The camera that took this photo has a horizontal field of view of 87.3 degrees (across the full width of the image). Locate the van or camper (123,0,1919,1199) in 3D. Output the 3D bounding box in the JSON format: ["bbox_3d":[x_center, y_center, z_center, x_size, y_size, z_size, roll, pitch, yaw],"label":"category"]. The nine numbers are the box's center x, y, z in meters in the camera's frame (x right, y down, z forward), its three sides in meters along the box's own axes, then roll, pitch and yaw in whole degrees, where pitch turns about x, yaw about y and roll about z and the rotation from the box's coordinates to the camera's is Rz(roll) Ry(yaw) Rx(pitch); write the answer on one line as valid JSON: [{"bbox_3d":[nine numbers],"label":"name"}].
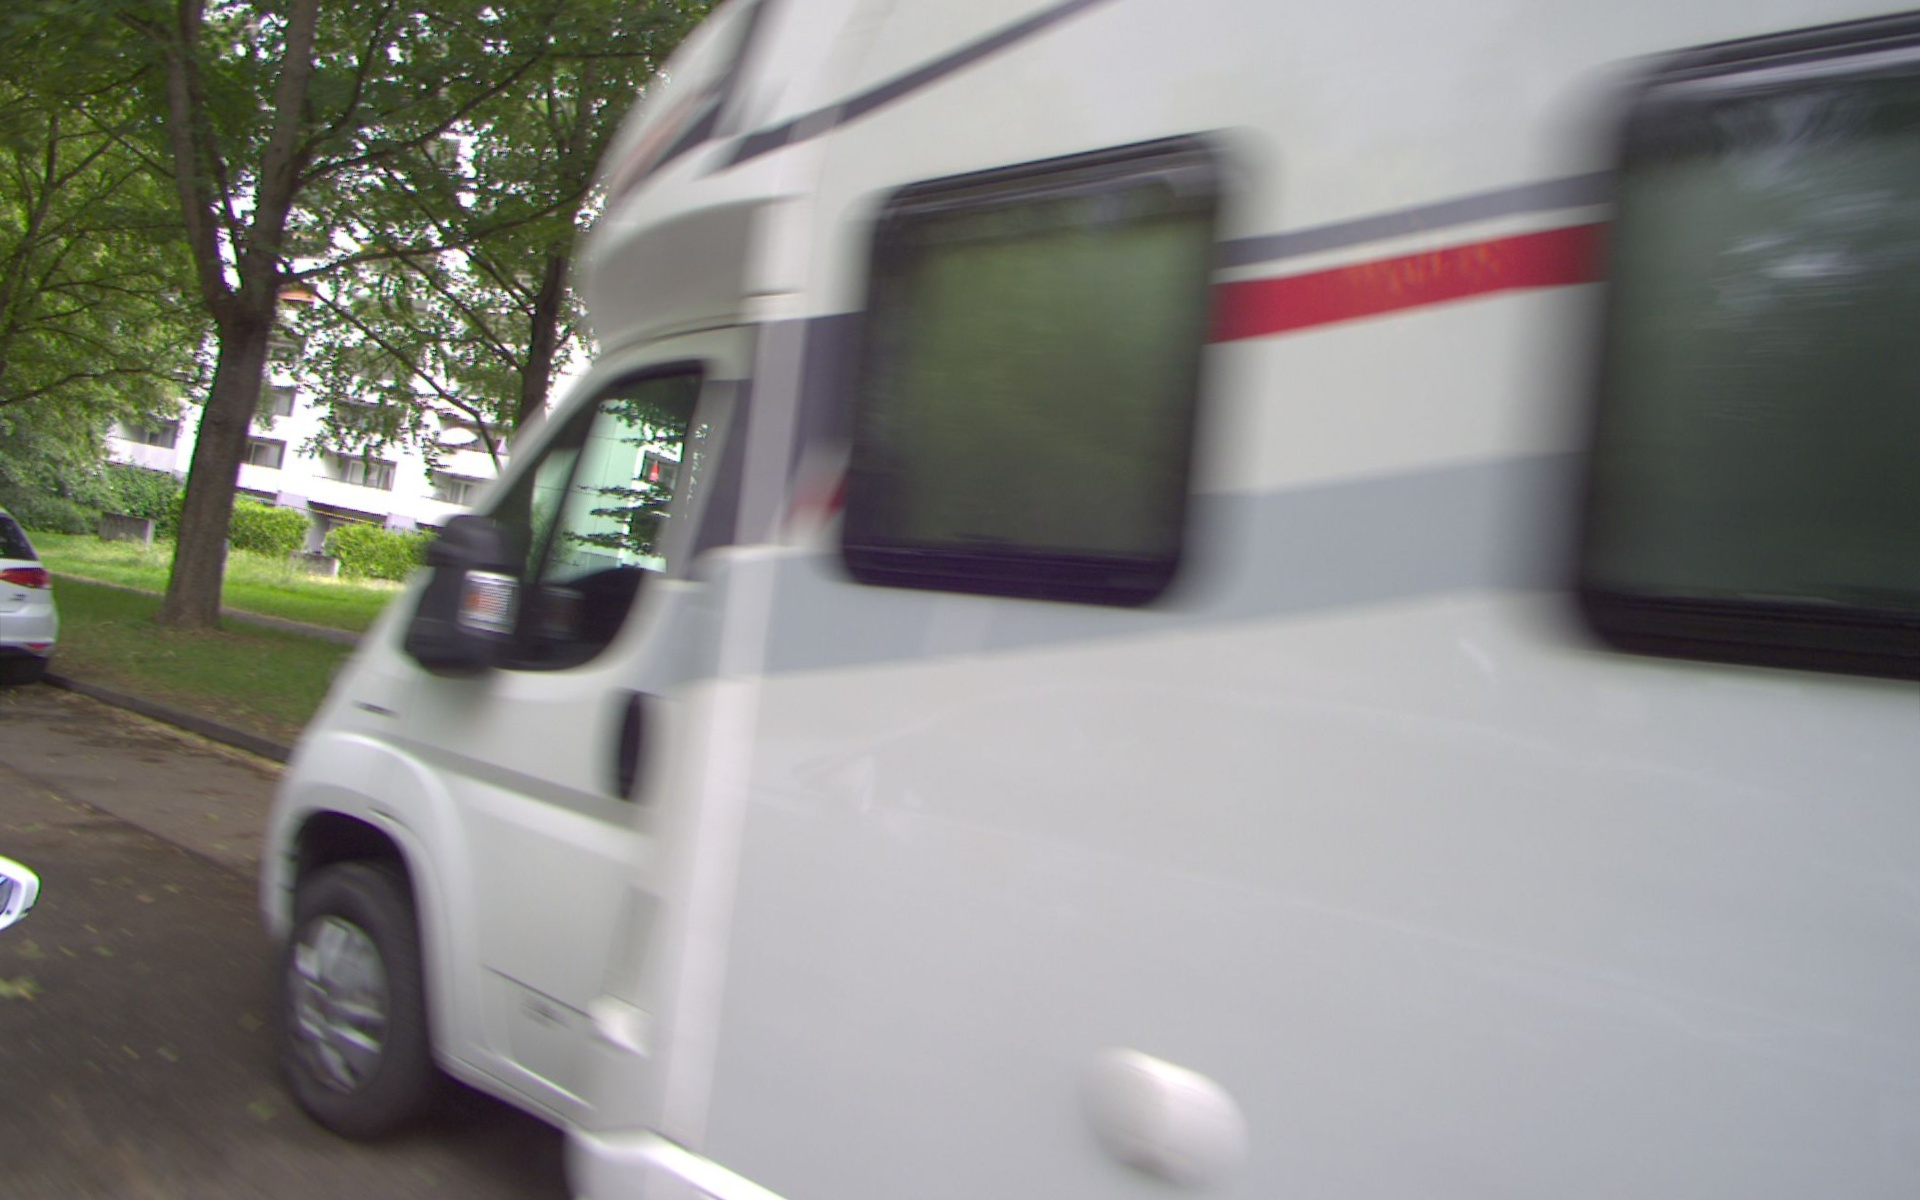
[{"bbox_3d":[1.643,0.235,1.747,7.272,3.013,2.429,7,-2,33],"label":"van or camper"}]

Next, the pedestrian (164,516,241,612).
[{"bbox_3d":[-14.311,-0.677,19.018,0.856,1.670,0.583,8,-1,17],"label":"pedestrian"}]

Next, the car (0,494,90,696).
[{"bbox_3d":[-9.114,-0.300,8.048,4.034,1.499,1.694,7,-2,26],"label":"car"}]
